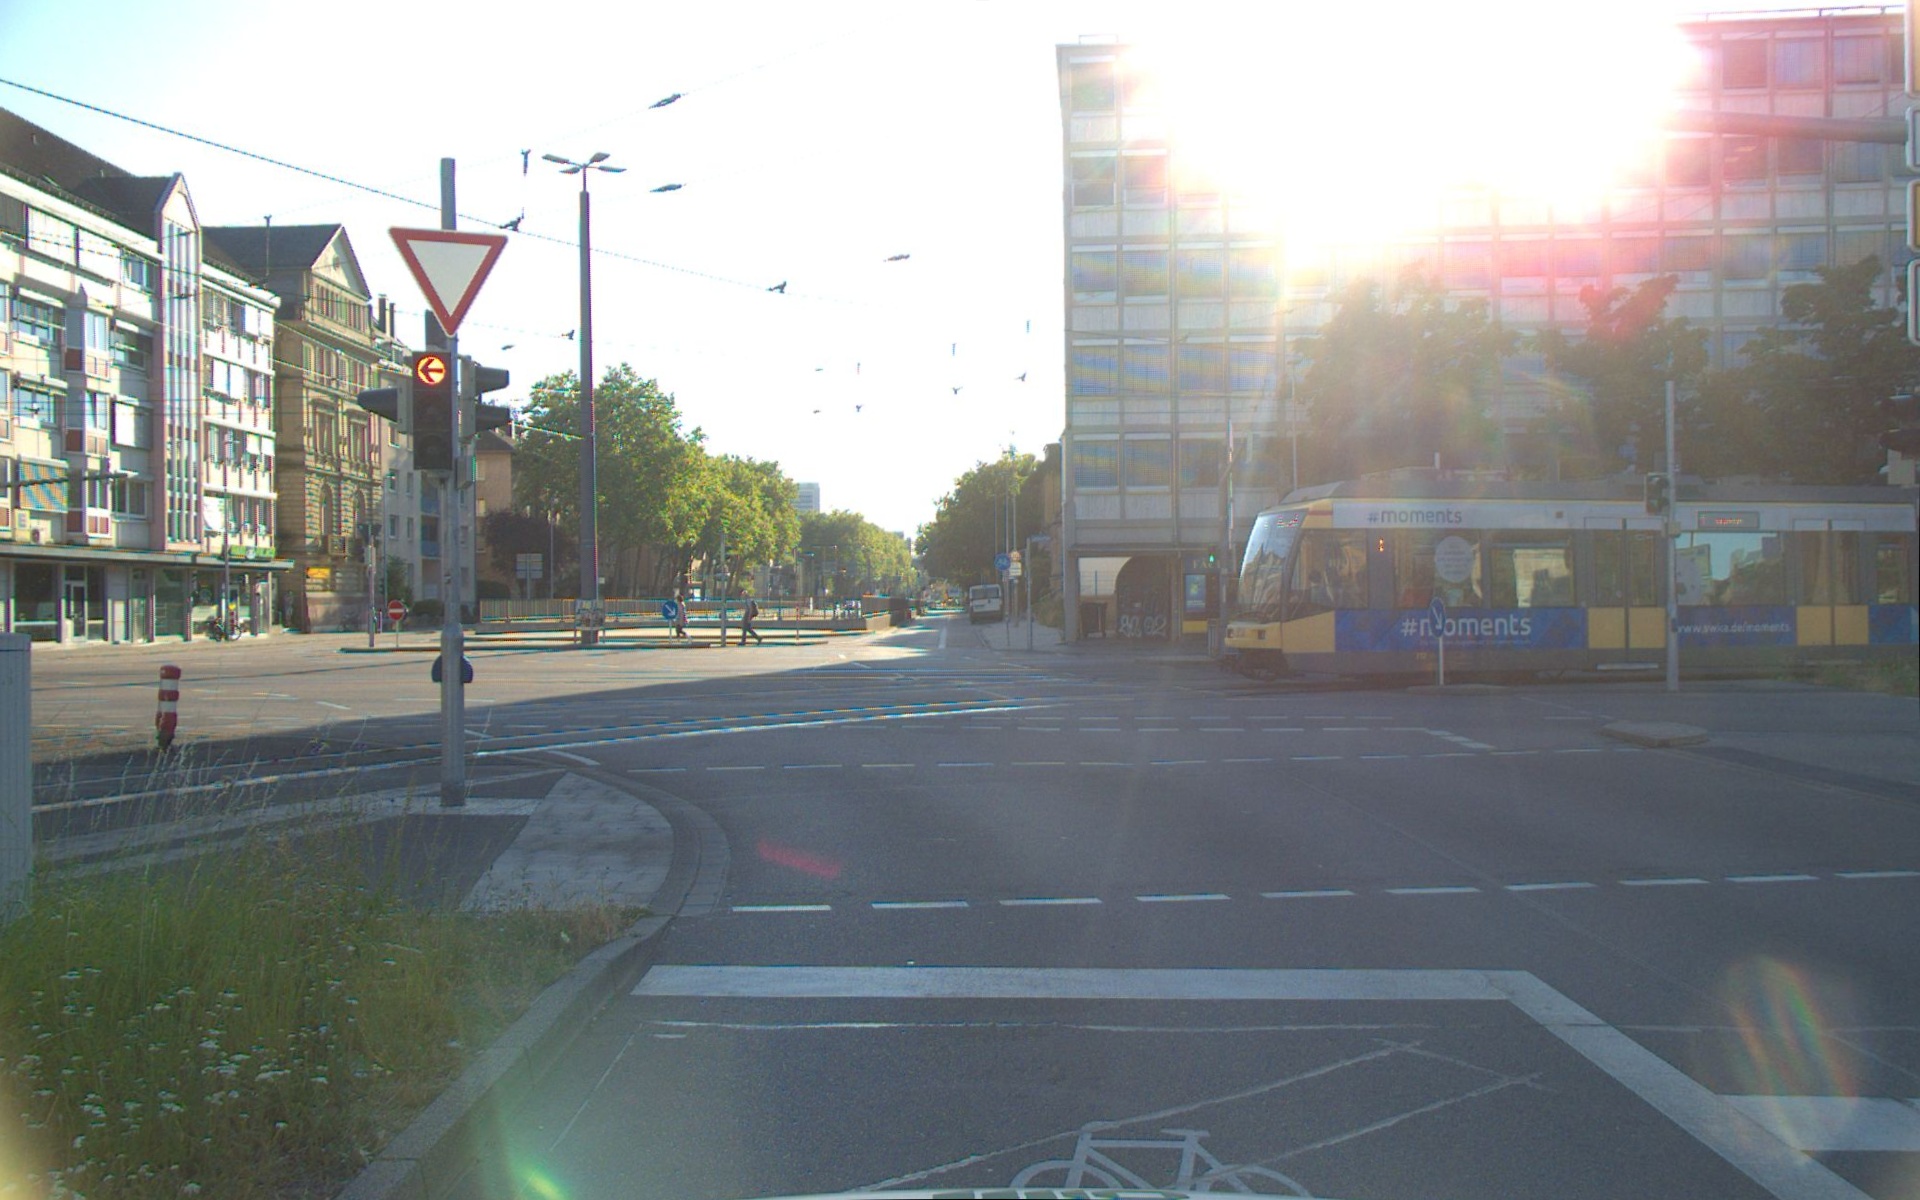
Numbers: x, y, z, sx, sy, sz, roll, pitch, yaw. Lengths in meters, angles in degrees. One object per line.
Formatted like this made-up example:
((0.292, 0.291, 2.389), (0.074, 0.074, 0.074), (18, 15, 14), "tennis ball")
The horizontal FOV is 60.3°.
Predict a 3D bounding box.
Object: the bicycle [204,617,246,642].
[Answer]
((-32.427, 1.294, 73.031), (0.441, 1.089, 2.093), (1, 0, 16), "bicycle")

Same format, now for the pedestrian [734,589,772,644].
((-6.754, 0.533, 54.053), (1.171, 1.761, 0.855), (1, -1, -5), "pedestrian")

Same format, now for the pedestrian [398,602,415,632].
((-31.568, 0.967, 94.376), (0.681, 1.725, 0.724), (1, -1, -1), "pedestrian")

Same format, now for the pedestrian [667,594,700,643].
((-8.700, 0.580, 52.101), (0.844, 1.491, 0.679), (1, -6, -30), "pedestrian")

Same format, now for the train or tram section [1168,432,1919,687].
((10.414, -0.656, 28.984), (13.103, 3.901, 3.698), (-1, 0, -17), "train or tram section")

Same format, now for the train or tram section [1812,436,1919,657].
((23.234, -0.835, 31.069), (12.677, 3.901, 3.714), (1, 0, -3), "train or tram section")

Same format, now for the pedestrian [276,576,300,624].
((-34.554, -0.005, 85.067), (0.910, 2.440, 0.958), (1, -1, -11), "pedestrian")

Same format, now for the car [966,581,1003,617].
((1.575, -0.060, 103.939), (2.238, 2.210, 4.834), (1, 0, 1), "car")

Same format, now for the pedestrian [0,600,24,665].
((-30.213, 1.008, 51.847), (1.171, 1.914, 0.857), (1, 9, -5), "pedestrian")
